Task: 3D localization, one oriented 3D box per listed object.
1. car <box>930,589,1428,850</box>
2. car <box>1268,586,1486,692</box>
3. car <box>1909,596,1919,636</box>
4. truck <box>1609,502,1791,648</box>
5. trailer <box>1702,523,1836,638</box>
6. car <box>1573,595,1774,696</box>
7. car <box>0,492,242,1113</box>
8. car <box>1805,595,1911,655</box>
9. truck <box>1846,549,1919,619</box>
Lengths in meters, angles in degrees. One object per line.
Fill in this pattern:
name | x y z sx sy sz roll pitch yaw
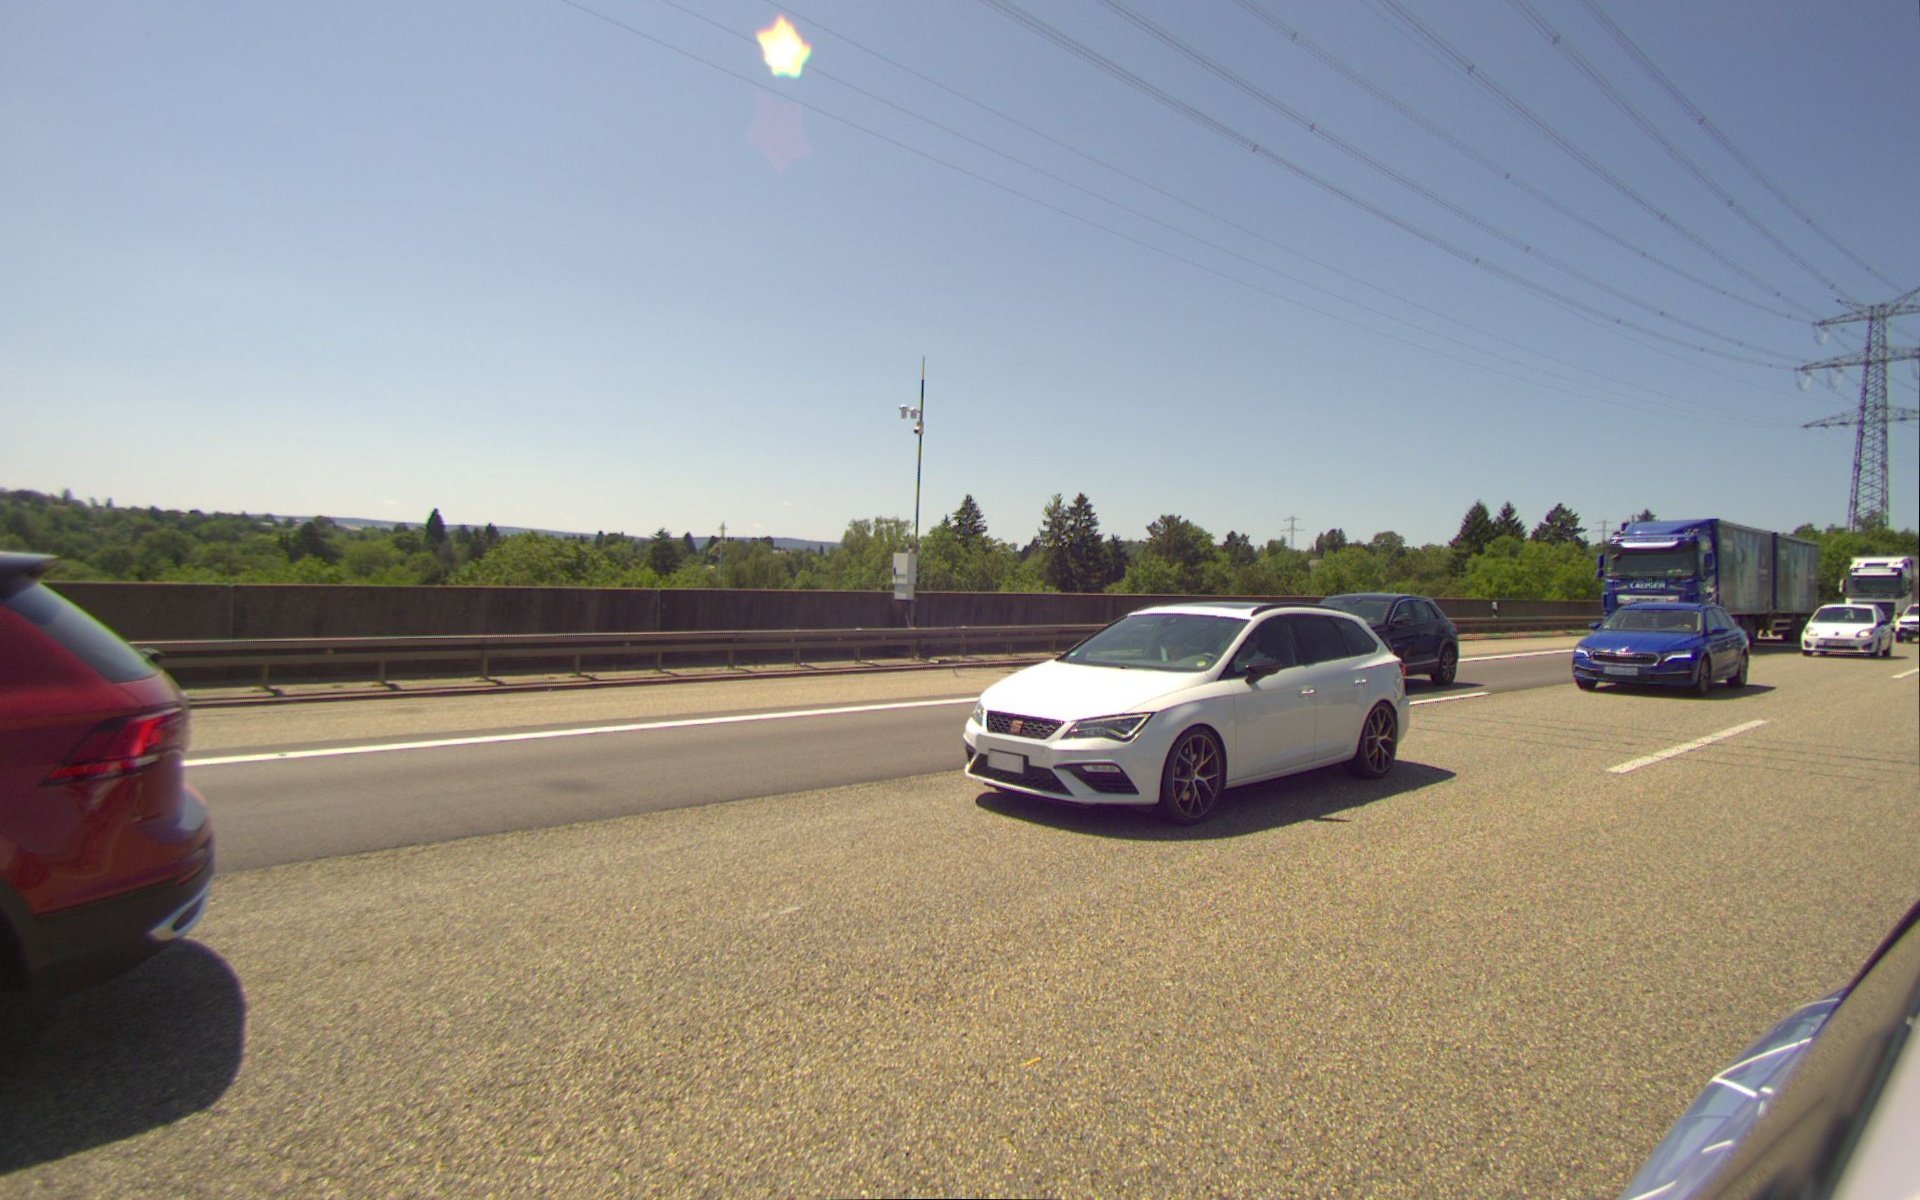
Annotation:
car | 1.873 0.680 7.895 4.003 1.508 1.841 0 0 -42
car | 6.996 0.562 16.816 4.034 1.546 1.739 0 0 -41
car | 38.448 0.617 39.469 4.024 1.522 1.761 0 1 -42
truck | 24.337 -0.729 32.982 10.263 4.118 2.527 0 0 -41
trailer | 31.354 -0.699 39.075 8.330 3.994 2.571 0 0 -41
car | 12.029 0.673 16.974 4.135 1.463 1.739 0 1 -40
car | -4.332 0.536 2.391 4.151 1.683 1.778 0 1 -41
car | 25.264 0.650 28.437 4.023 1.522 1.761 0 1 -42
truck | 52.743 -0.857 56.904 10.776 3.604 2.982 0 0 -41
